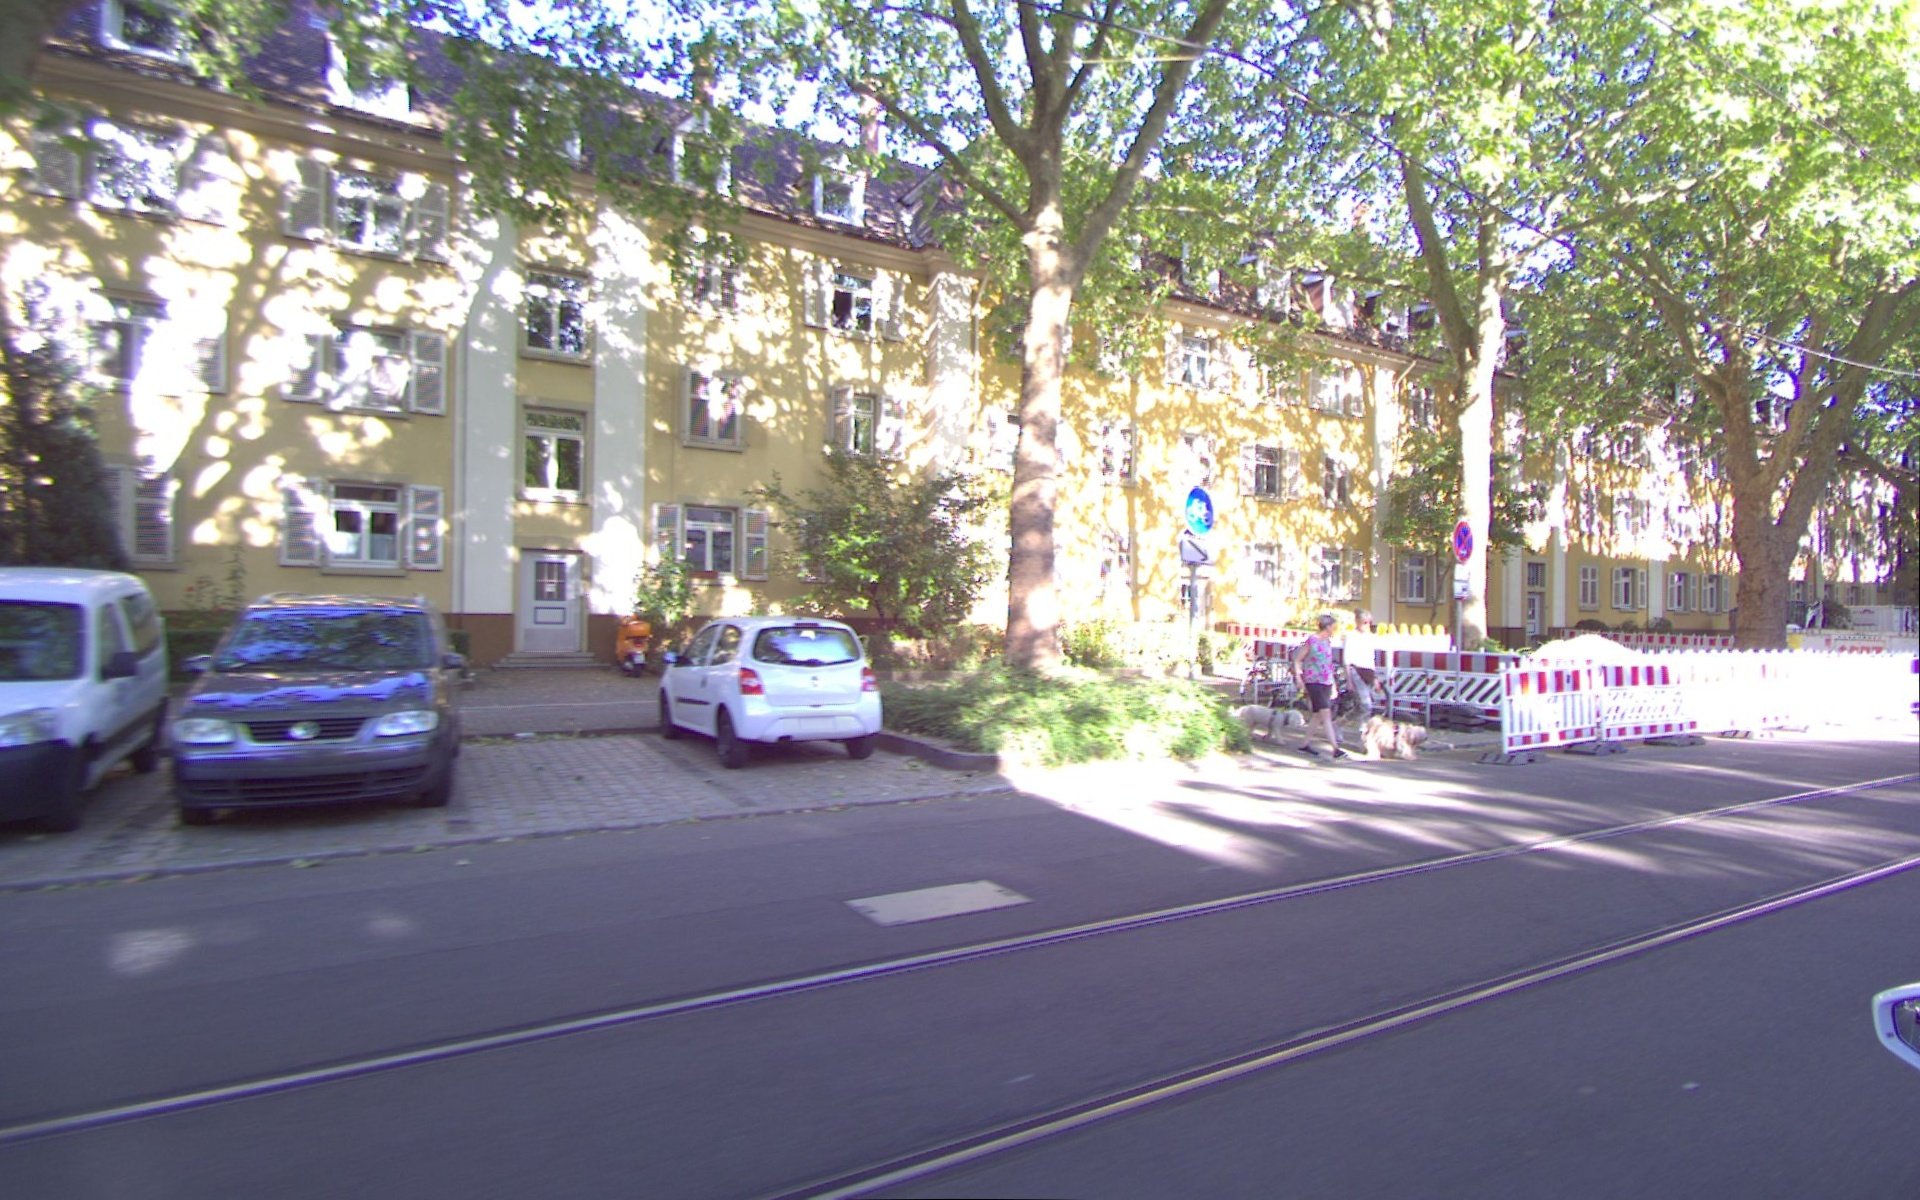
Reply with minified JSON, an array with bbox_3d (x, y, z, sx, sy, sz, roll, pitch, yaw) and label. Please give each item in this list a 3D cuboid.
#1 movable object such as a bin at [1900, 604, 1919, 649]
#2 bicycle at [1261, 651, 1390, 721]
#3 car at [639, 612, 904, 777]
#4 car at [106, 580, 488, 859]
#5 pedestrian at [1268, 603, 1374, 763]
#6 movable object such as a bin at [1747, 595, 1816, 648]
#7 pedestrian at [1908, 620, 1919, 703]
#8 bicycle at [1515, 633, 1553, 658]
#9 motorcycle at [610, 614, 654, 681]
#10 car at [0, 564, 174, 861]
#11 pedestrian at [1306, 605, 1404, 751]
[{"bbox_3d":[35.804,0.999,37.175,1.541,1.667,1.092,2,0,-30],"label":"movable object such as a bin"},{"bbox_3d":[5.798,1.340,16.060,0.717,0.975,1.964,1,-1,-29],"label":"bicycle"},{"bbox_3d":[-2.300,0.920,11.418,1.840,1.517,3.830,1,-1,-29],"label":"car"},{"bbox_3d":[-5.164,0.786,8.498,1.905,1.710,4.225,1,-1,-23],"label":"car"},{"bbox_3d":[4.195,0.930,11.691,0.787,1.768,0.818,2,0,-30],"label":"pedestrian"},{"bbox_3d":[30.238,0.782,36.975,1.984,1.893,1.327,2,0,-31],"label":"movable object such as a bin"},{"bbox_3d":[19.978,1.264,20.497,0.769,1.691,0.713,2,0,-30],"label":"pedestrian"},{"bbox_3d":[20.155,1.597,35.282,1.627,0.829,0.503,1,-1,-35],"label":"bicycle"},{"bbox_3d":[-6.444,0.900,19.697,0.516,1.257,1.703,1,-1,-28],"label":"motorcycle"},{"bbox_3d":[-7.227,0.657,7.510,1.721,1.781,4.174,1,0,-33],"label":"car"},{"bbox_3d":[5.032,0.960,12.802,0.787,1.768,0.818,2,0,-30],"label":"pedestrian"}]
